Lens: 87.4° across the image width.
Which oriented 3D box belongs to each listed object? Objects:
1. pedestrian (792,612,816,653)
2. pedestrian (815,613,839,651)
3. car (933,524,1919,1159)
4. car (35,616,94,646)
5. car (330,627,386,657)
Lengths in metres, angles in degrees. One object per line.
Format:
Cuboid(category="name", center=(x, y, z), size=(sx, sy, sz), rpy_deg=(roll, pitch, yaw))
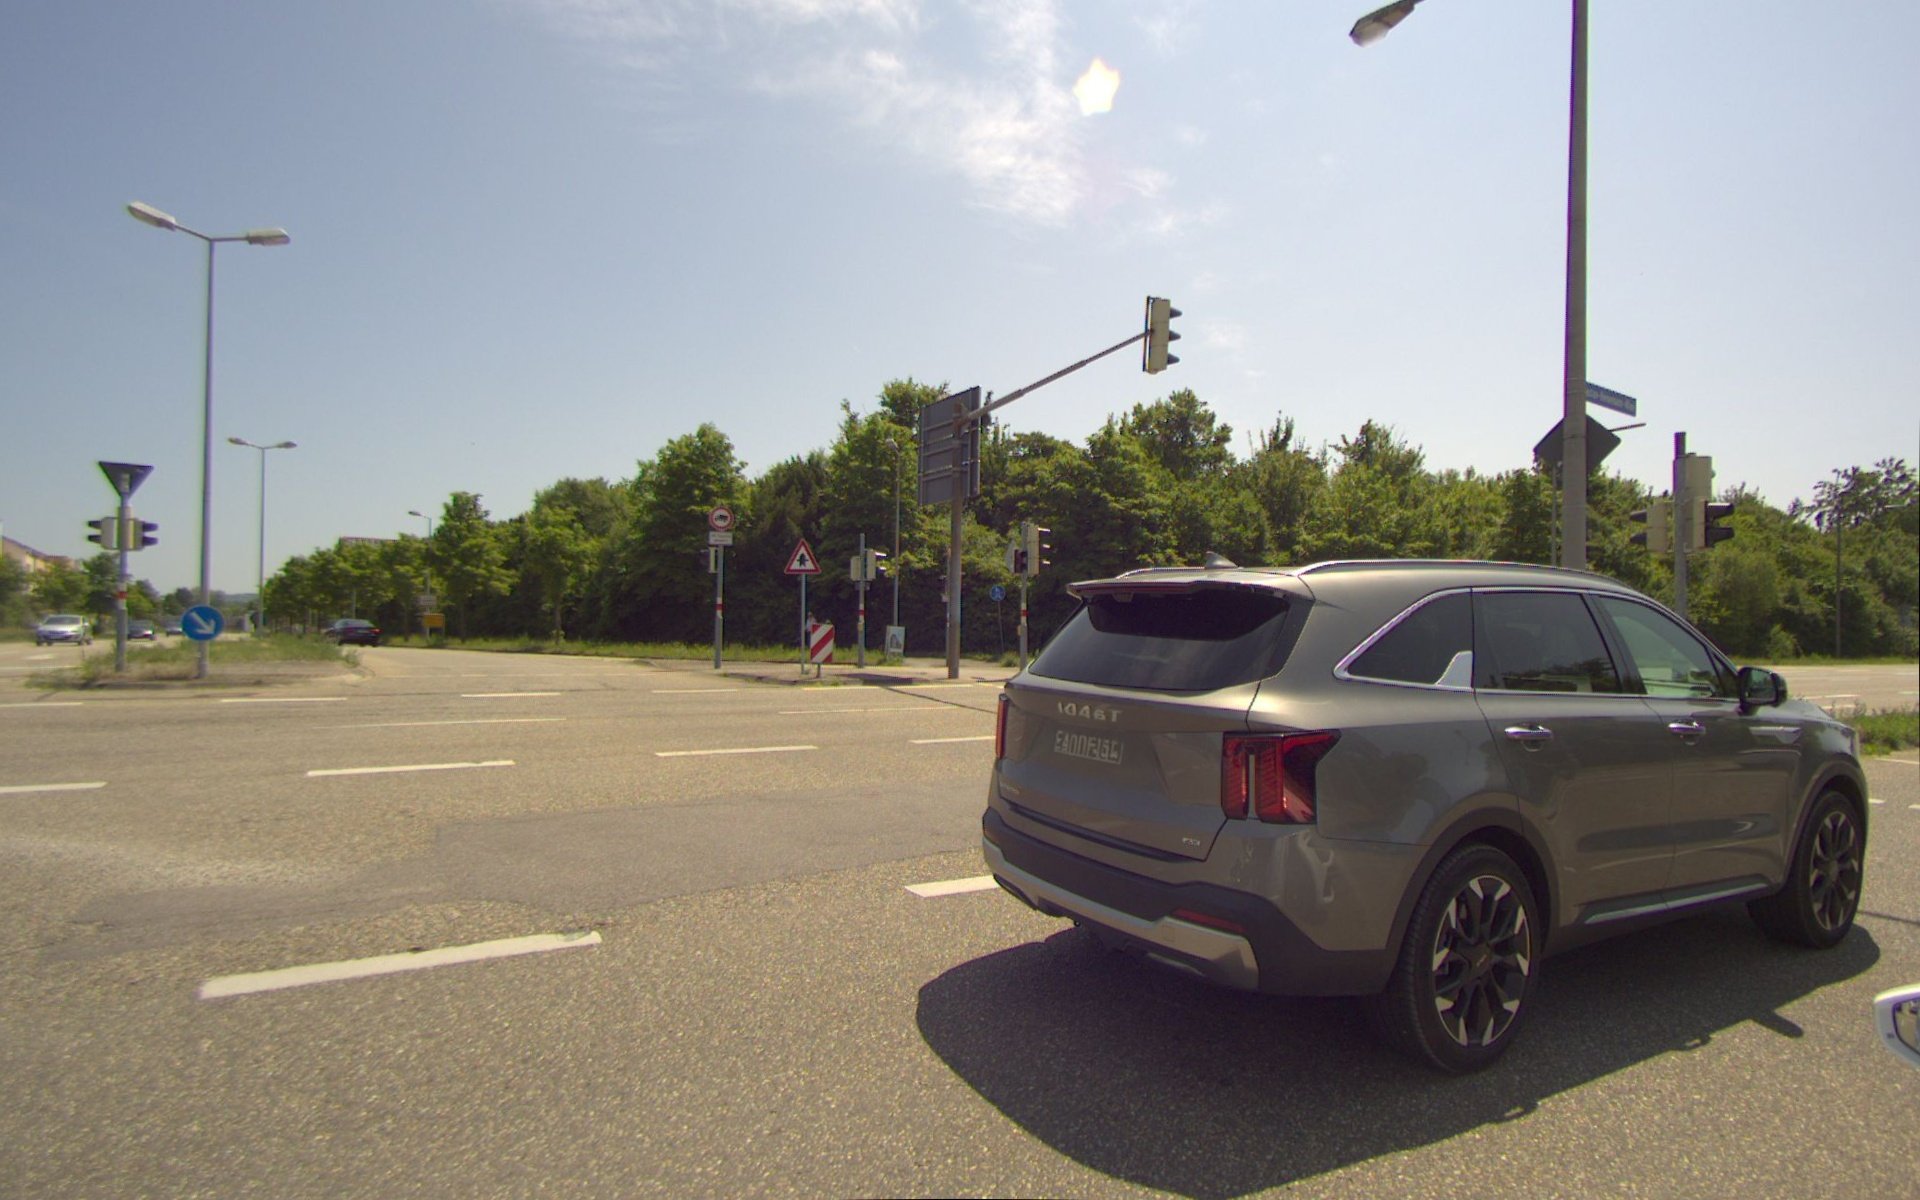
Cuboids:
Cuboid(category="pedestrian", center=(-6.312, 1.310, 40.748), size=(0.606, 1.624, 0.798), rpy_deg=(0, -1, 25))
Cuboid(category="pedestrian", center=(-5.357, 1.290, 40.430), size=(0.606, 1.523, 0.798), rpy_deg=(0, -1, 25))
Cuboid(category="car", center=(2.324, 0.714, 4.608), size=(4.589, 1.684, 1.796), rpy_deg=(2, -1, -30))
Cuboid(category="car", center=(-43.602, 1.489, 48.994), size=(1.617, 1.379, 3.962), rpy_deg=(2, -2, -34))
Cuboid(category="car", center=(-30.301, 2.100, 50.531), size=(1.728, 1.439, 3.952), rpy_deg=(2, -2, -41))
